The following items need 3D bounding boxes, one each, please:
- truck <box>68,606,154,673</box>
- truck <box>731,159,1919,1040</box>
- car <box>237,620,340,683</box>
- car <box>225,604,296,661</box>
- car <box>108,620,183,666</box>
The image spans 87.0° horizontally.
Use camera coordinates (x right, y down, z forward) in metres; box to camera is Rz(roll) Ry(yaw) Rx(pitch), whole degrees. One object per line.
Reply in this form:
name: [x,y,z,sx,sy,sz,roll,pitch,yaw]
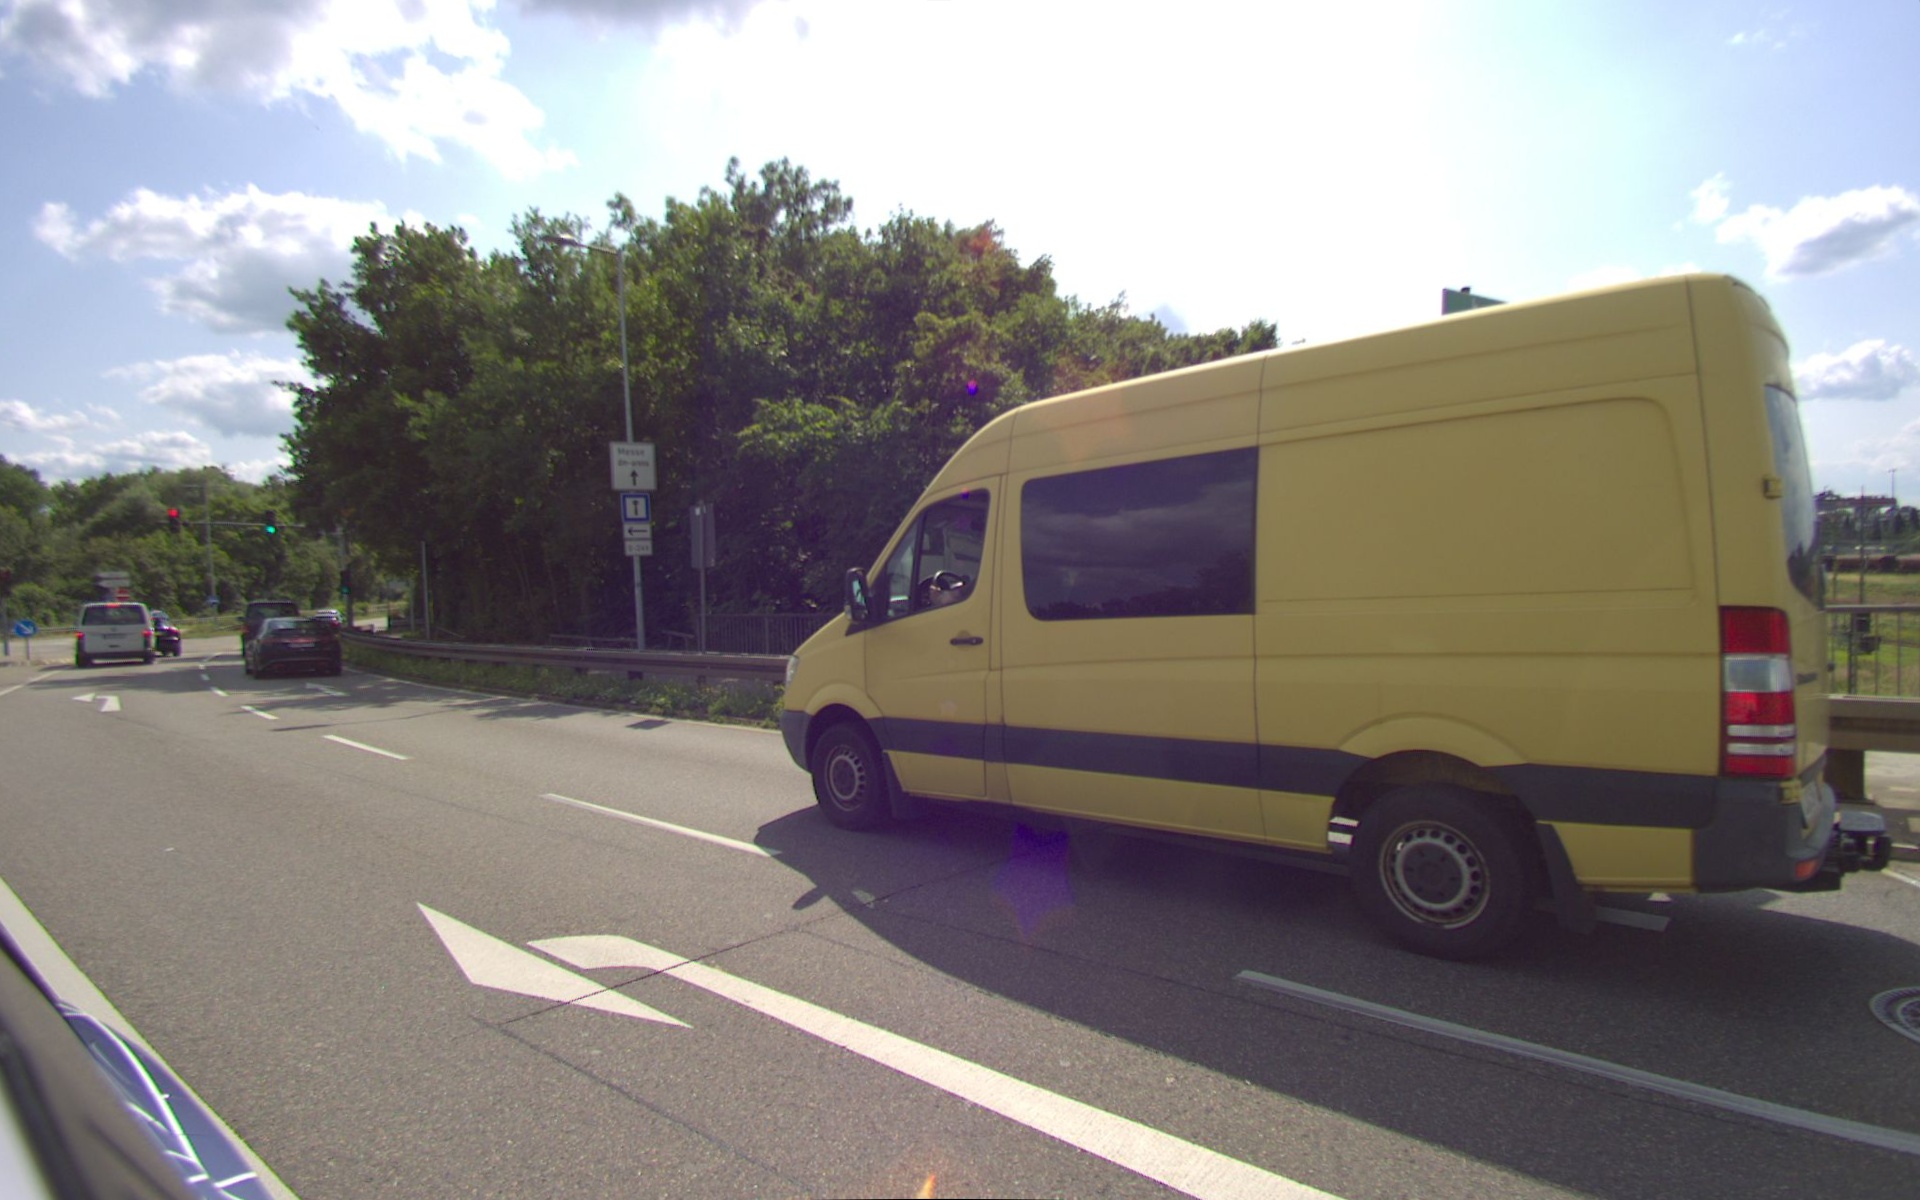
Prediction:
truck: [-27.073,1.218,32.397,1.935,1.927,5.380,-2,0,-39]
truck: [1.299,0.074,5.804,6.102,2.641,1.972,-2,-2,42]
car: [-16.744,1.220,25.148,1.775,1.400,4.014,-1,0,-39]
car: [-25.622,1.158,37.220,1.966,1.928,5.146,-1,-1,-33]
car: [-30.660,1.589,38.050,3.822,1.569,1.679,-2,0,43]
